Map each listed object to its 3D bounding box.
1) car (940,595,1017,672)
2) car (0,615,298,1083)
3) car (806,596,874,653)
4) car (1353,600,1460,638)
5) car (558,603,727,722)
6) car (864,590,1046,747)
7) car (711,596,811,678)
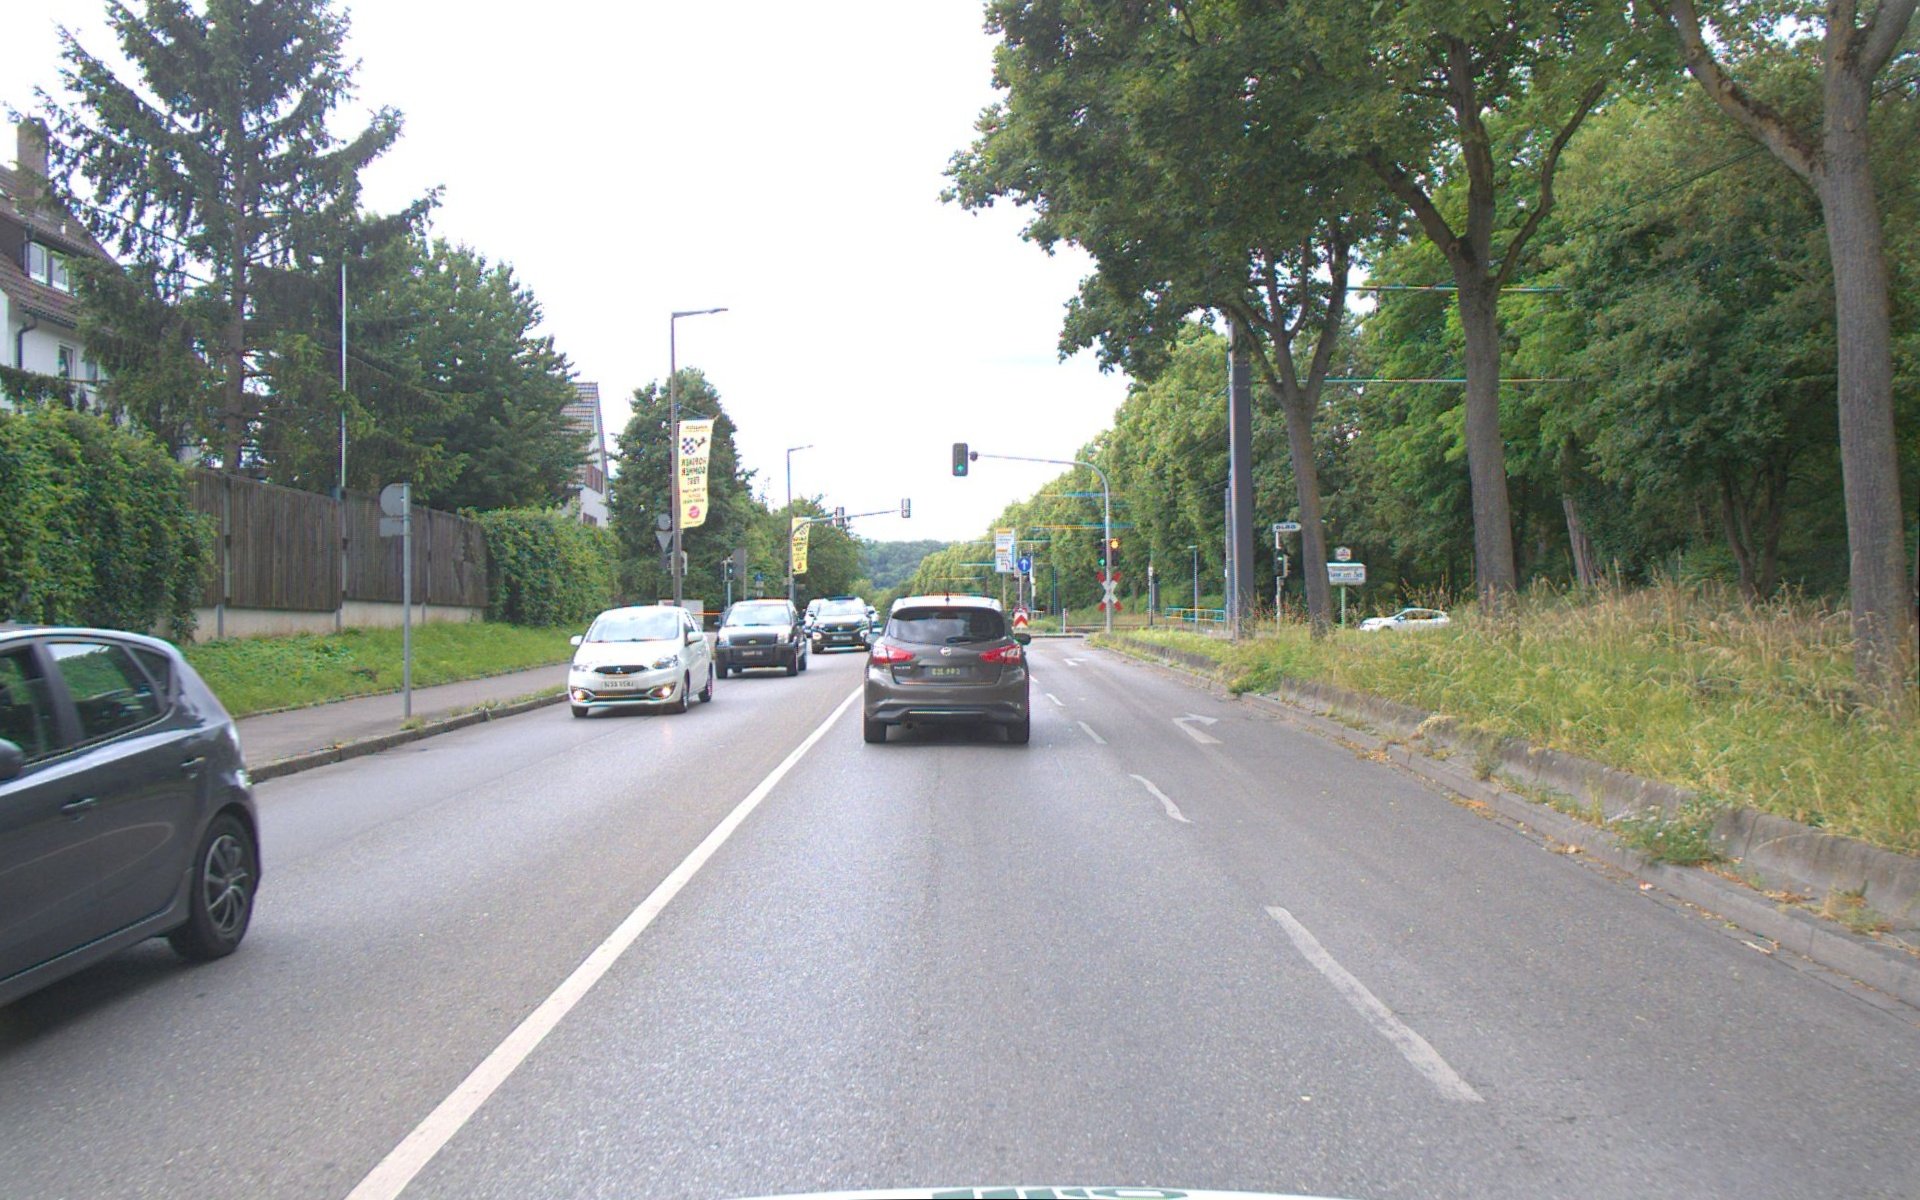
[{"bbox_3d":[0.368,0.673,35.149,1.507,1.504,3.764,-2,0,0],"label":"car"},{"bbox_3d":[-3.997,0.857,5.781,1.693,1.490,4.153,-2,0,-1],"label":"car"},{"bbox_3d":[-3.487,0.691,48.803,1.776,1.550,4.175,-2,0,-2],"label":"car"},{"bbox_3d":[19.142,0.804,70.996,3.910,1.377,1.998,3,0,-6],"label":"car"},{"bbox_3d":[-4.561,0.849,24.309,1.585,1.487,4.072,-3,0,0],"label":"car"},{"bbox_3d":[-0.054,0.675,18.722,1.797,1.545,4.482,1,0,0],"label":"car"},{"bbox_3d":[-4.043,0.717,34.079,1.610,1.507,4.106,-2,0,-2],"label":"car"}]
